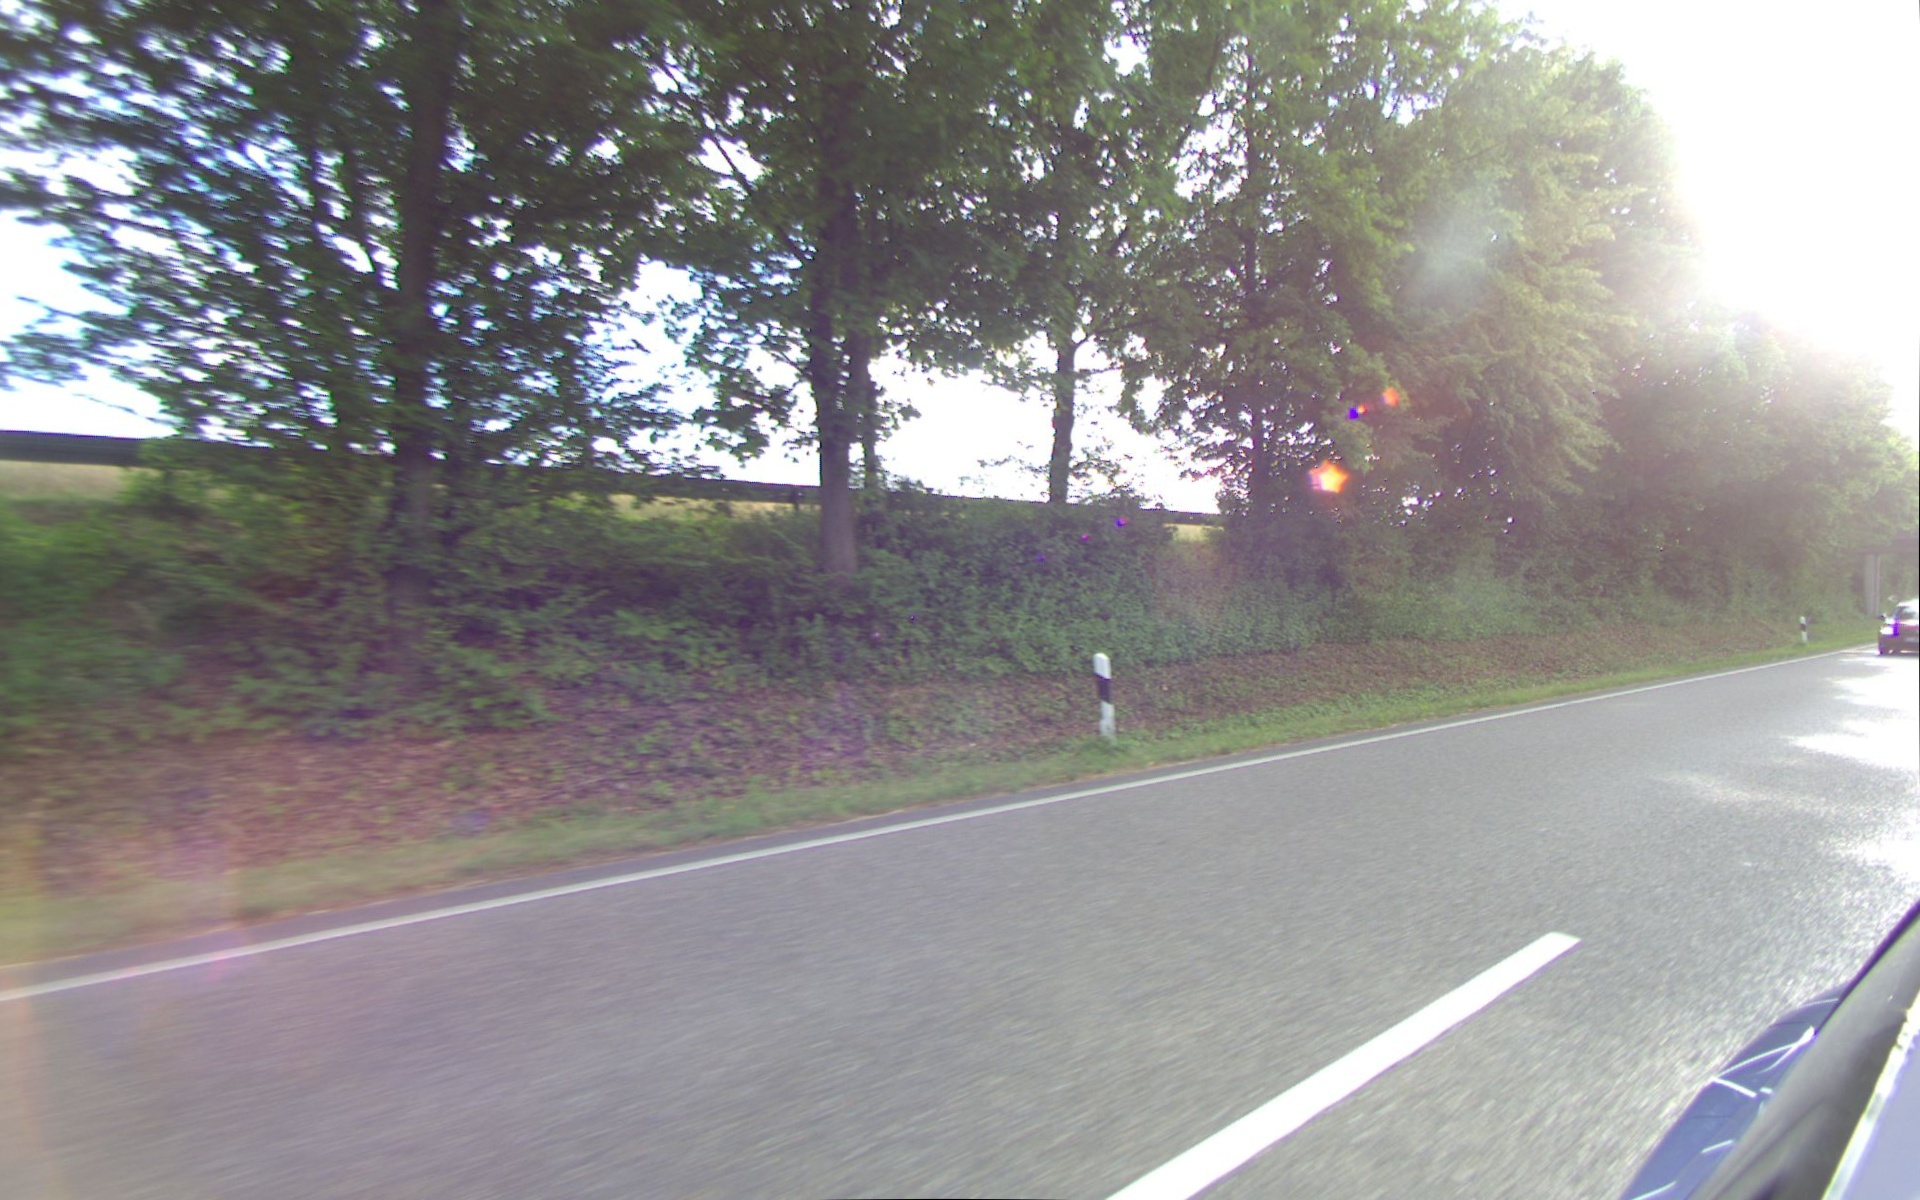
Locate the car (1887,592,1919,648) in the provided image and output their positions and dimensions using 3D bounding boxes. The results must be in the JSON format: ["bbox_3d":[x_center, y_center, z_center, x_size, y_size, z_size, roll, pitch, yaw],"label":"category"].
[{"bbox_3d":[27.160,0.570,27.975,3.660,1.494,1.723,1,0,-39],"label":"car"}]
